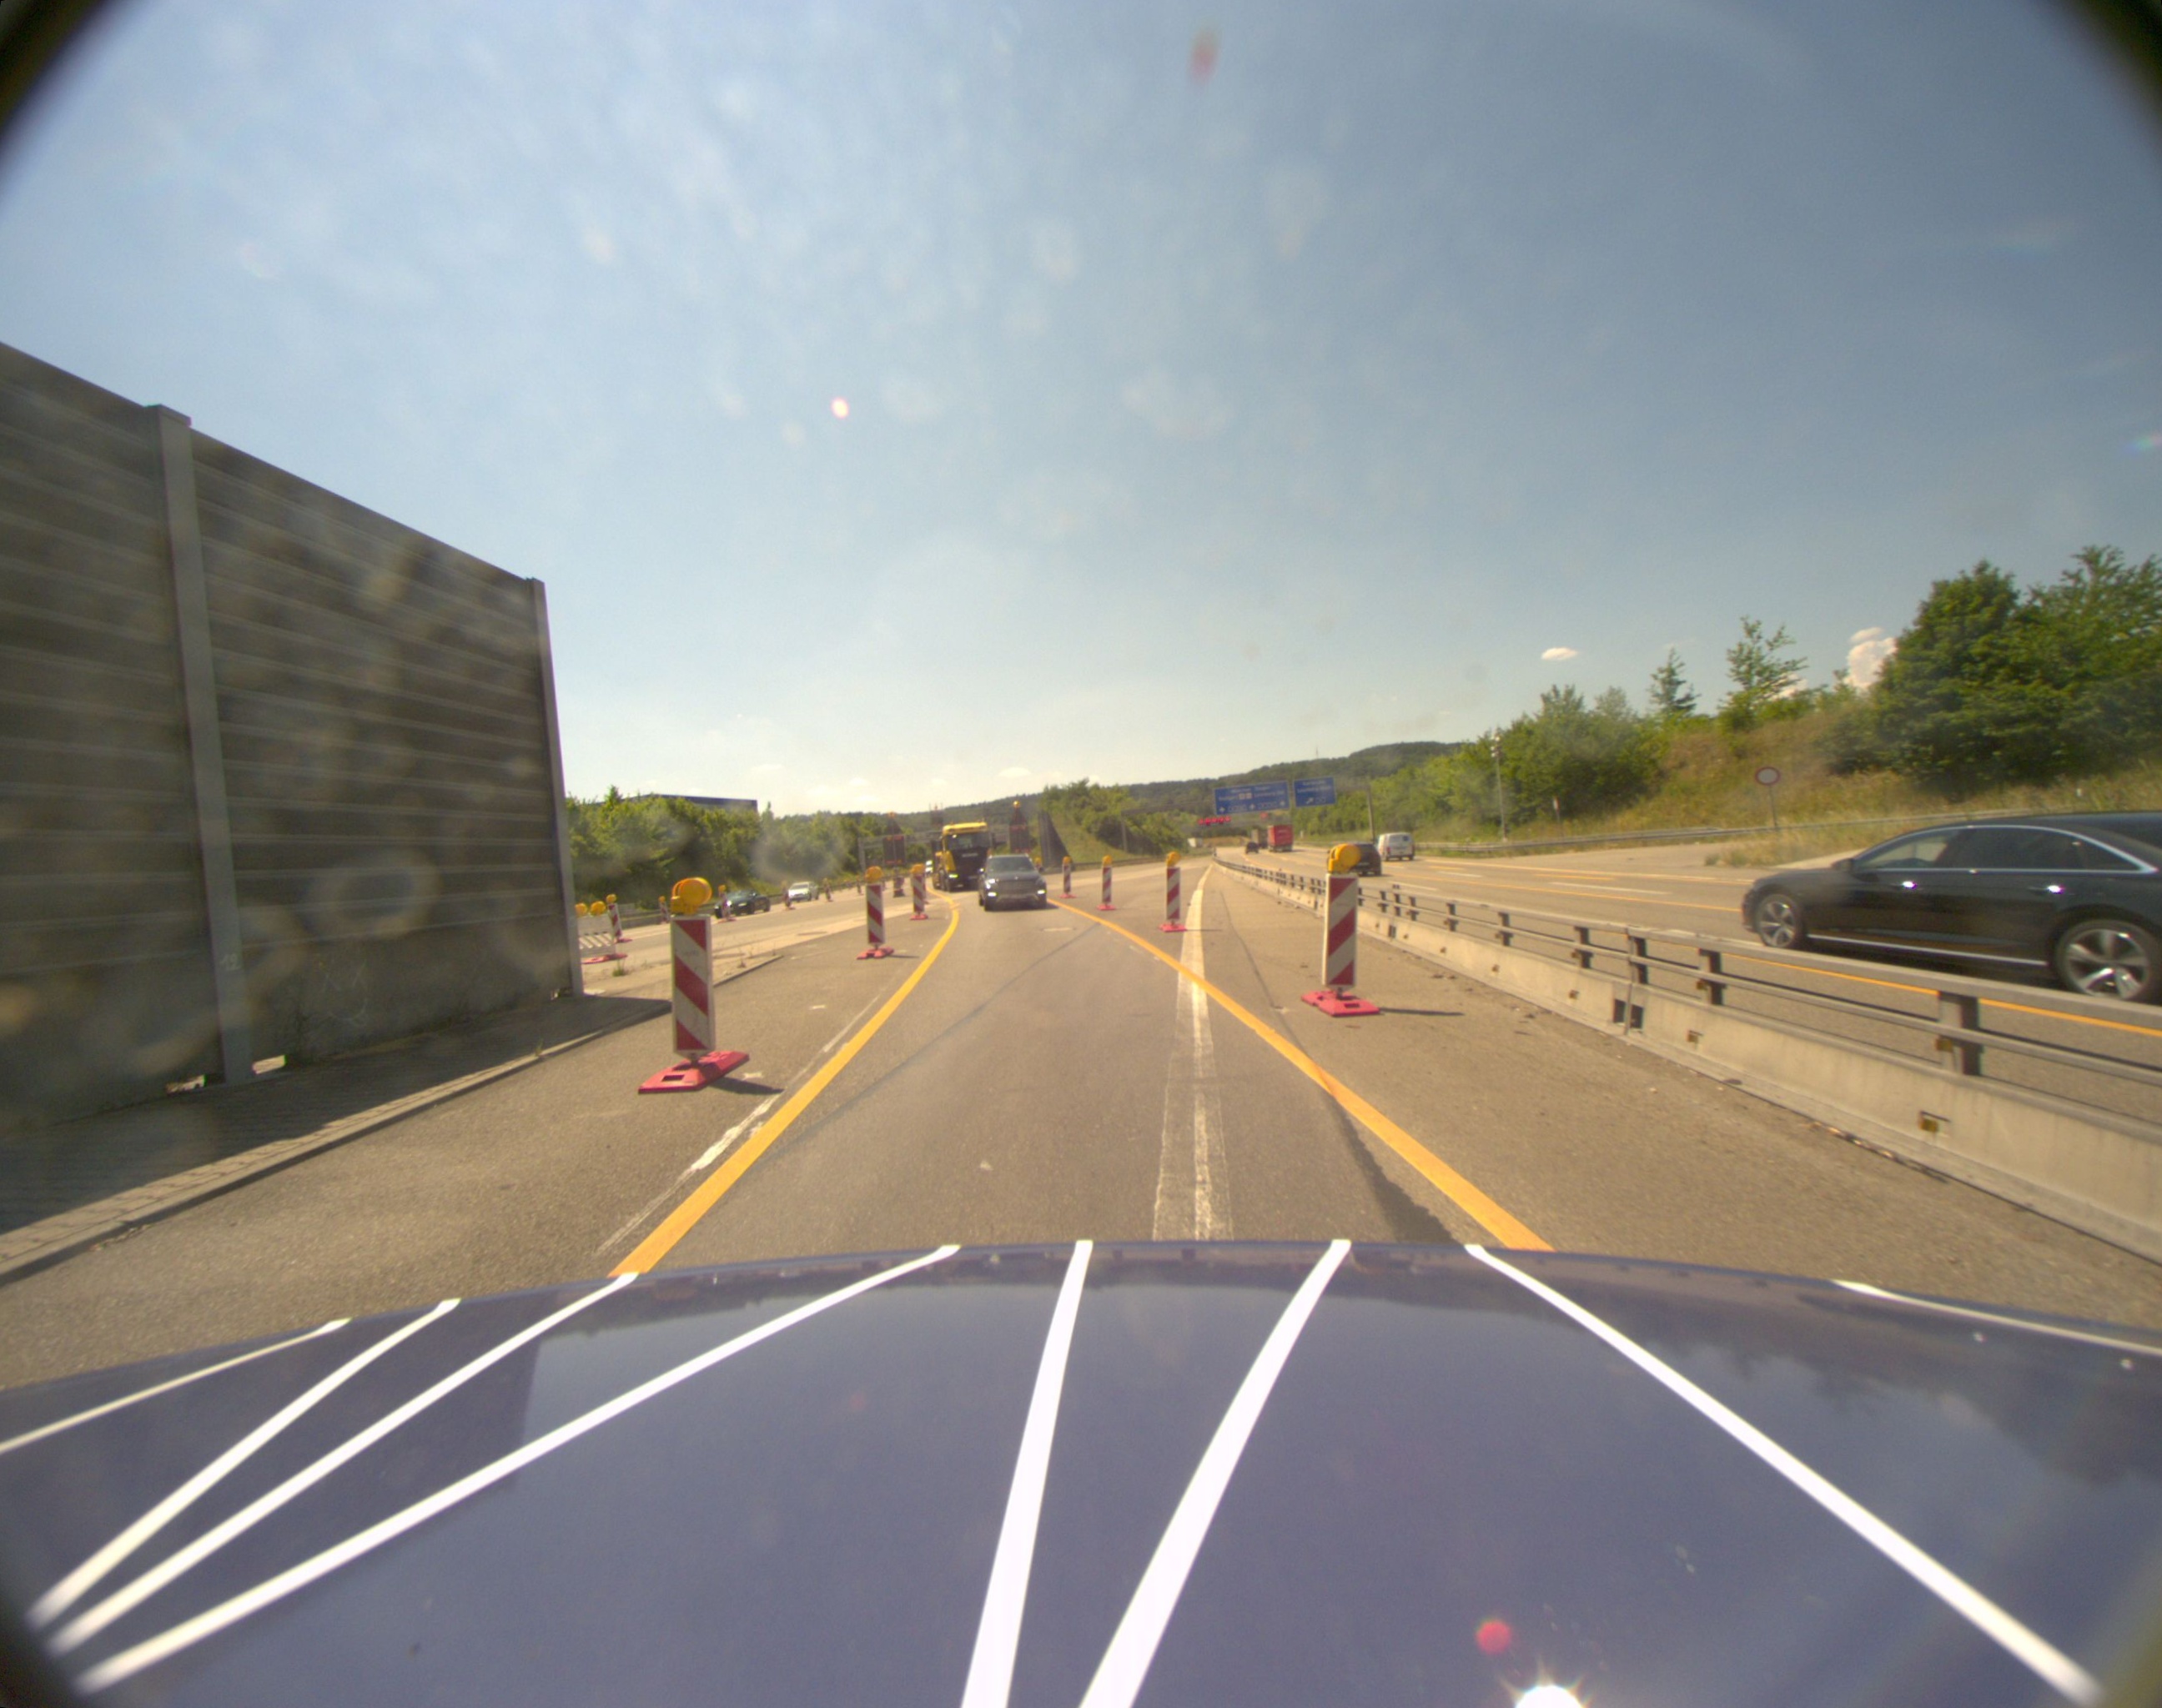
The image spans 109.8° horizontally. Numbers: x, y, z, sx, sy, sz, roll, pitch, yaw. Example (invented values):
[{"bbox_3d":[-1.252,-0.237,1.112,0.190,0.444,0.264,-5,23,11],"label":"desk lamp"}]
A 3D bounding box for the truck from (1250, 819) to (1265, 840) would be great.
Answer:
[{"bbox_3d":[38.062,-5.267,164.207,2.436,4.245,4.840,-5,1,8],"label":"truck"}]

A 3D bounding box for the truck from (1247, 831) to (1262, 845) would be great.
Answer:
[{"bbox_3d":[26.651,-2.405,116.708,1.997,1.862,4.765,-5,0,11],"label":"truck"}]

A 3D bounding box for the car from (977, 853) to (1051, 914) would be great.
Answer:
[{"bbox_3d":[-2.294,0.885,24.938,1.821,1.685,4.489,-4,1,-12],"label":"car"}]

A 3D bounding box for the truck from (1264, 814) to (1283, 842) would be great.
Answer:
[{"bbox_3d":[30.505,-4.125,120.478,2.338,4.084,5.020,-5,1,10],"label":"truck"}]

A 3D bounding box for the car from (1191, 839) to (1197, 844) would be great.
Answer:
[{"bbox_3d":[37.671,-4.188,253.387,1.719,1.614,4.171,-5,1,7],"label":"car"}]

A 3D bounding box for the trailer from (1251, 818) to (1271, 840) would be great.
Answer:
[{"bbox_3d":[37.050,-5.101,157.041,2.440,4.272,13.815,-5,1,8],"label":"trailer"}]

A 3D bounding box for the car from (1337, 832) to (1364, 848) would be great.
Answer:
[{"bbox_3d":[24.774,-1.285,69.987,1.690,1.387,4.002,-3,1,10],"label":"car"}]

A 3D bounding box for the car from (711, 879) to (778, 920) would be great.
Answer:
[{"bbox_3d":[-17.894,2.362,40.698,1.820,1.686,4.490,-8,1,-7],"label":"car"}]

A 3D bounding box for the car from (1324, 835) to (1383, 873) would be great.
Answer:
[{"bbox_3d":[12.574,-0.045,35.269,1.746,1.584,4.230,-3,1,9],"label":"car"}]

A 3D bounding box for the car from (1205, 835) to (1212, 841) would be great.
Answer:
[{"bbox_3d":[38.371,-4.849,228.564,1.719,1.482,3.689,-5,1,6],"label":"car"}]

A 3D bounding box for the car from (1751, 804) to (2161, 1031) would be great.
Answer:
[{"bbox_3d":[8.553,0.397,6.438,1.777,1.584,4.988,-3,0,7],"label":"car"}]

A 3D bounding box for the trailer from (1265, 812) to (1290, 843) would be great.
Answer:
[{"bbox_3d":[29.313,-3.922,113.718,2.342,4.079,13.268,-5,1,10],"label":"trailer"}]

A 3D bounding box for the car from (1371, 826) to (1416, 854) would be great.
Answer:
[{"bbox_3d":[21.834,-1.017,53.321,1.690,1.824,4.789,-3,1,7],"label":"car"}]

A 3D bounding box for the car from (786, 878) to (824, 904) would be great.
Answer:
[{"bbox_3d":[-22.836,3.040,63.053,1.820,1.686,4.490,-7,1,-7],"label":"car"}]

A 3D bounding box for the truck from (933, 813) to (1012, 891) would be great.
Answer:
[{"bbox_3d":[-6.249,-0.026,42.743,3.233,3.639,7.076,-7,0,-14],"label":"truck"}]

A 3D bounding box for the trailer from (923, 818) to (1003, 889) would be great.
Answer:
[{"bbox_3d":[-8.332,0.188,51.010,3.240,3.646,17.403,-7,0,-14],"label":"trailer"}]
